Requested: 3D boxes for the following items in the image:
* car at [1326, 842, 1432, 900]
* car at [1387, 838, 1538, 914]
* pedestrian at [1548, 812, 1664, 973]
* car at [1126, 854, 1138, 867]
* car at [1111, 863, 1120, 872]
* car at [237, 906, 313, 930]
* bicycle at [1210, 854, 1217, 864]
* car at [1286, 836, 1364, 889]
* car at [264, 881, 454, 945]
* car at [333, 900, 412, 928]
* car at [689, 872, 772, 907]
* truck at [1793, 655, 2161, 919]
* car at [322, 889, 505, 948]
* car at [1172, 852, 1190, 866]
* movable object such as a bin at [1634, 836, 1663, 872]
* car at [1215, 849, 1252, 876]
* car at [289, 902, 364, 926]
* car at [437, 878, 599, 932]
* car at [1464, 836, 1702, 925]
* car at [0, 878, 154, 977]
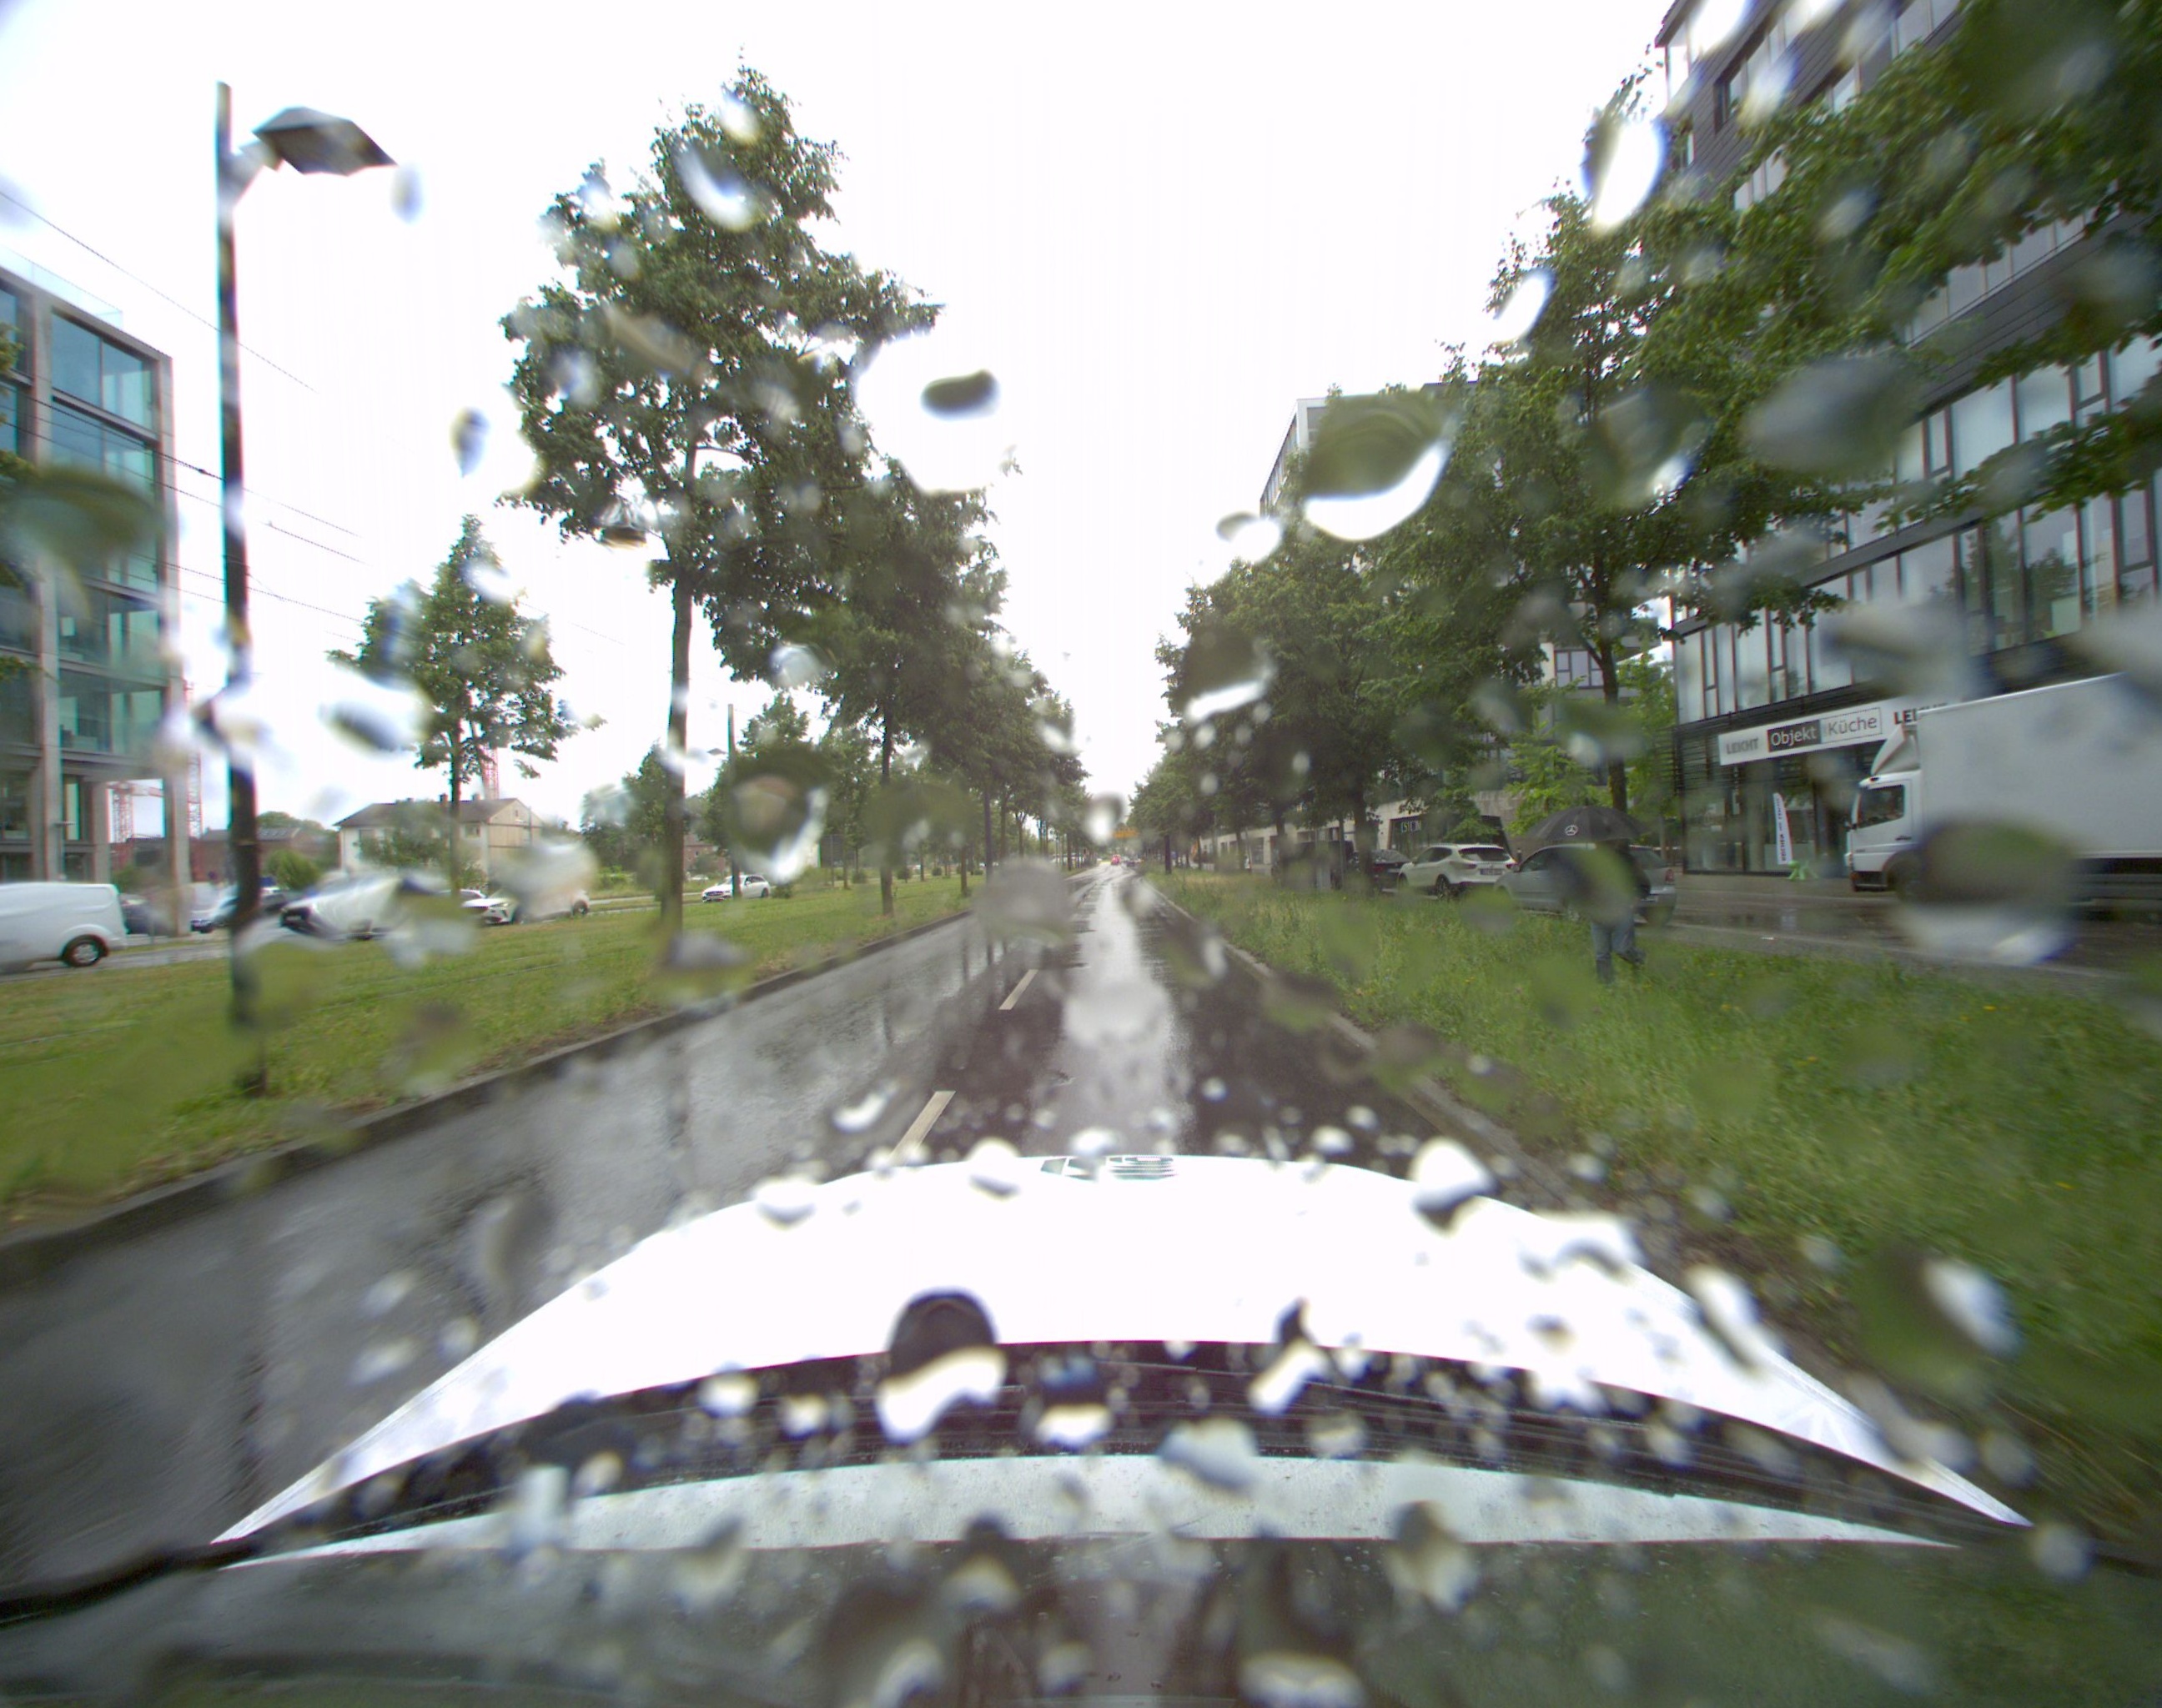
[{"bbox_3d":[10.074,0.494,27.987,1.985,1.669,4.962,-2,2,3],"label":"car"},{"bbox_3d":[10.006,0.482,21.839,1.985,1.669,4.727,-2,2,2],"label":"car"},{"bbox_3d":[5.143,0.368,8.020,0.640,1.493,0.700,-2,-1,0],"label":"pedestrian"},{"bbox_3d":[9.179,1.142,147.366,1.932,2.013,4.004,-2,2,3],"label":"car"},{"bbox_3d":[8.618,3.250,201.917,1.984,2.013,4.006,-2,2,5],"label":"car"},{"bbox_3d":[-47.774,3.760,48.339,1.284,1.072,3.022,-2,2,5],"label":"car"},{"bbox_3d":[25.049,0.868,154.282,0.769,1.722,3.122,-2,2,2],"label":"bicycle"},{"bbox_3d":[10.289,0.286,34.735,1.985,1.952,5.033,-2,2,3],"label":"car"},{"bbox_3d":[-23.843,1.886,27.178,1.941,1.749,4.582,-2,0,5],"label":"car"},{"bbox_3d":[-41.953,3.528,48.318,1.371,1.240,3.490,-2,2,6],"label":"car"},{"bbox_3d":[-18.745,1.853,43.822,1.941,1.460,4.840,-2,2,6],"label":"car"},{"bbox_3d":[15.566,-0.912,11.719,3.015,3.441,8.545,-2,0,0],"label":"truck"},{"bbox_3d":[-21.103,1.980,26.049,1.943,1.513,4.578,-2,0,2],"label":"car"},{"bbox_3d":[12.955,0.618,105.389,1.874,1.505,4.727,-2,2,3],"label":"car"},{"bbox_3d":[20.924,-0.013,30.040,0.606,1.276,0.648,-2,1,-2],"label":"movable object such as a bin"},{"bbox_3d":[11.078,0.608,59.336,1.985,1.669,4.727,-2,2,2],"label":"car"},{"bbox_3d":[-44.580,3.539,48.216,1.180,1.067,3.226,-2,2,6],"label":"car"},{"bbox_3d":[-18.195,1.591,26.646,1.943,1.452,4.578,-2,0,2],"label":"car"},{"bbox_3d":[9.540,0.433,16.023,1.764,1.452,4.723,-1,0,0],"label":"car"},{"bbox_3d":[-24.686,1.727,17.862,2.258,2.006,5.379,-2,2,3],"label":"car"}]
